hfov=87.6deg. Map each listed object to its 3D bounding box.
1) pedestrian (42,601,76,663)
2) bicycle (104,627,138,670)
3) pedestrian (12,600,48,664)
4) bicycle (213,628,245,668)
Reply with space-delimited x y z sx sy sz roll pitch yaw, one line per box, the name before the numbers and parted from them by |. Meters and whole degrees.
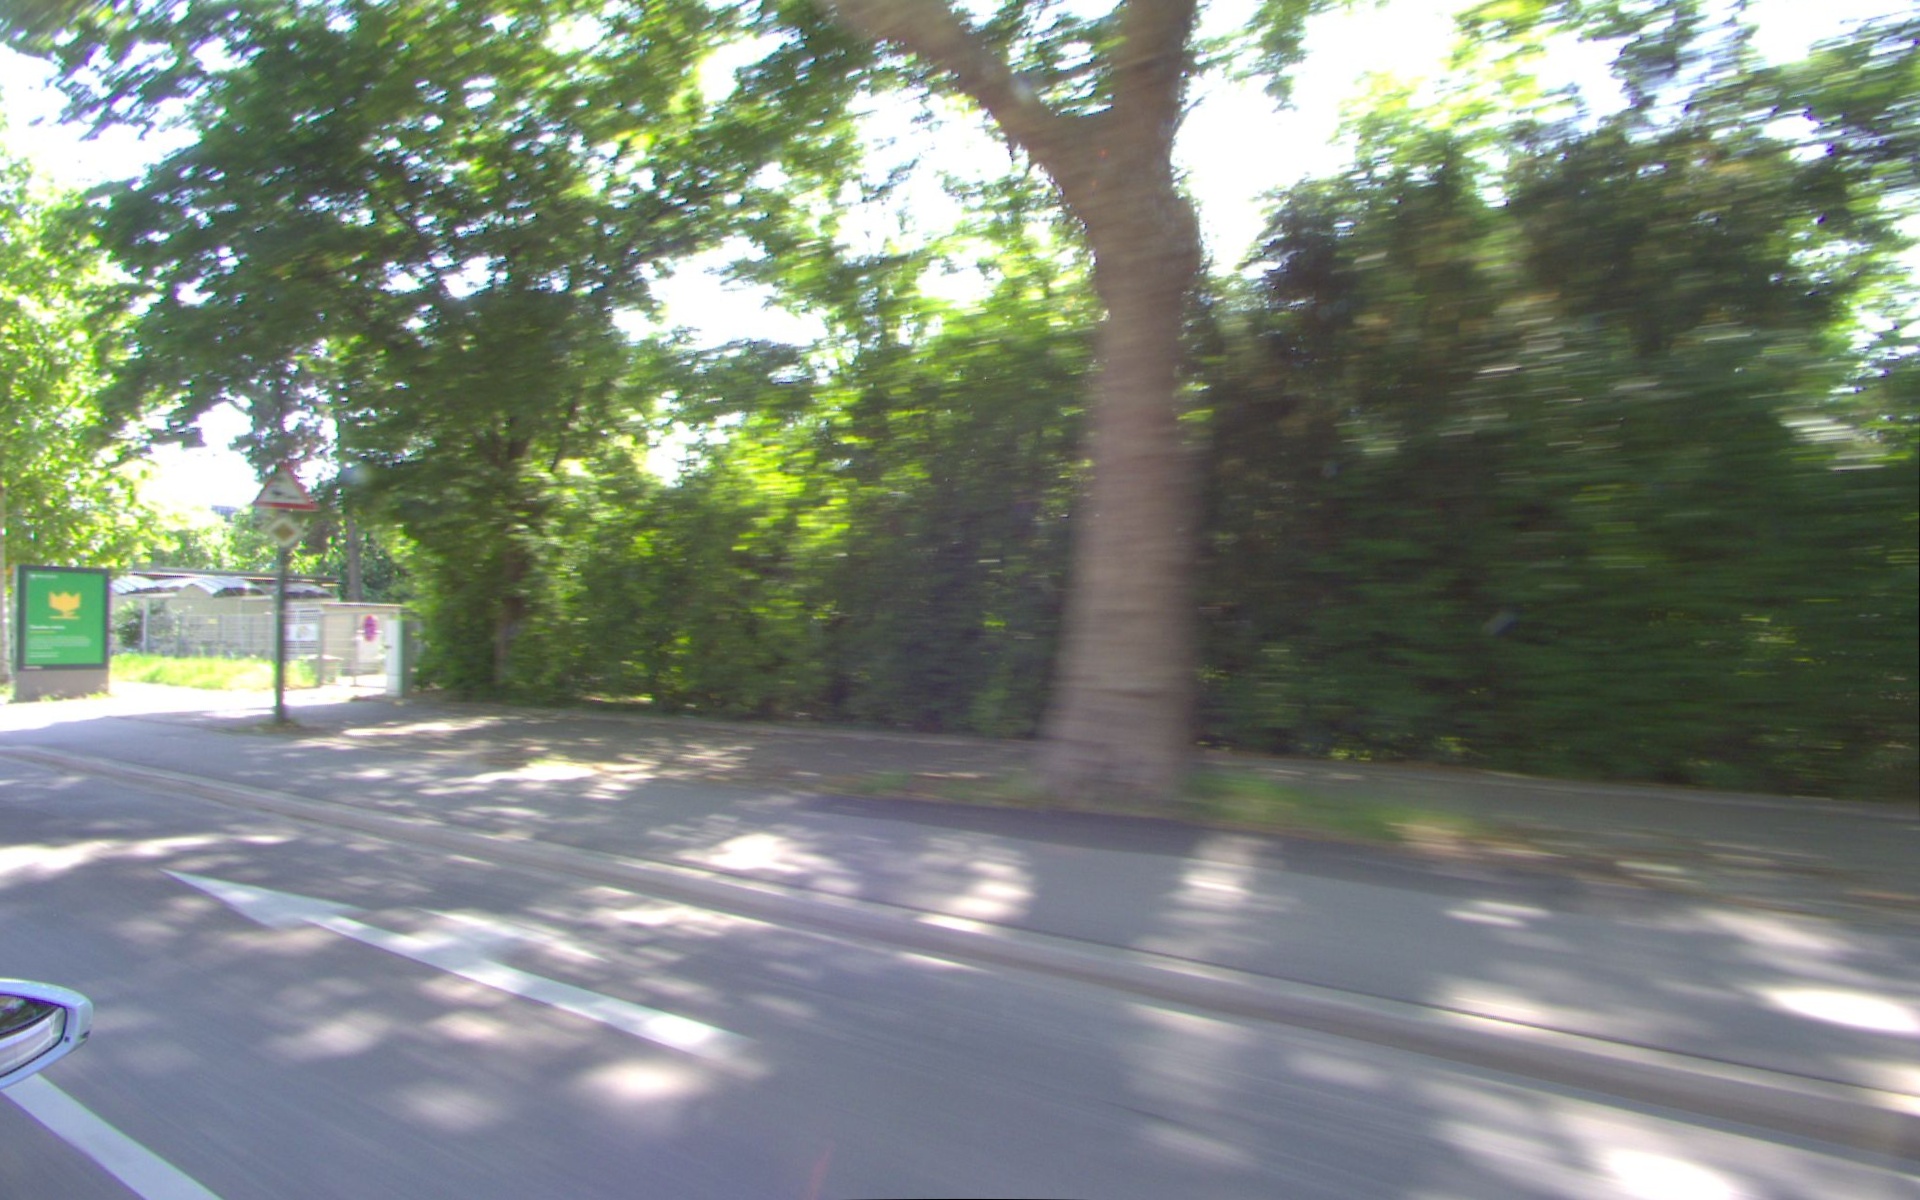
pedestrian | -28.298 1.014 31.447 0.588 1.920 0.612 0 -1 29
bicycle | -24.118 1.389 28.778 1.157 1.195 0.388 0 -2 33
pedestrian | -28.549 0.984 30.752 0.684 1.920 0.612 0 -1 30
bicycle | -22.236 1.458 30.458 1.157 1.195 0.388 0 -2 33
